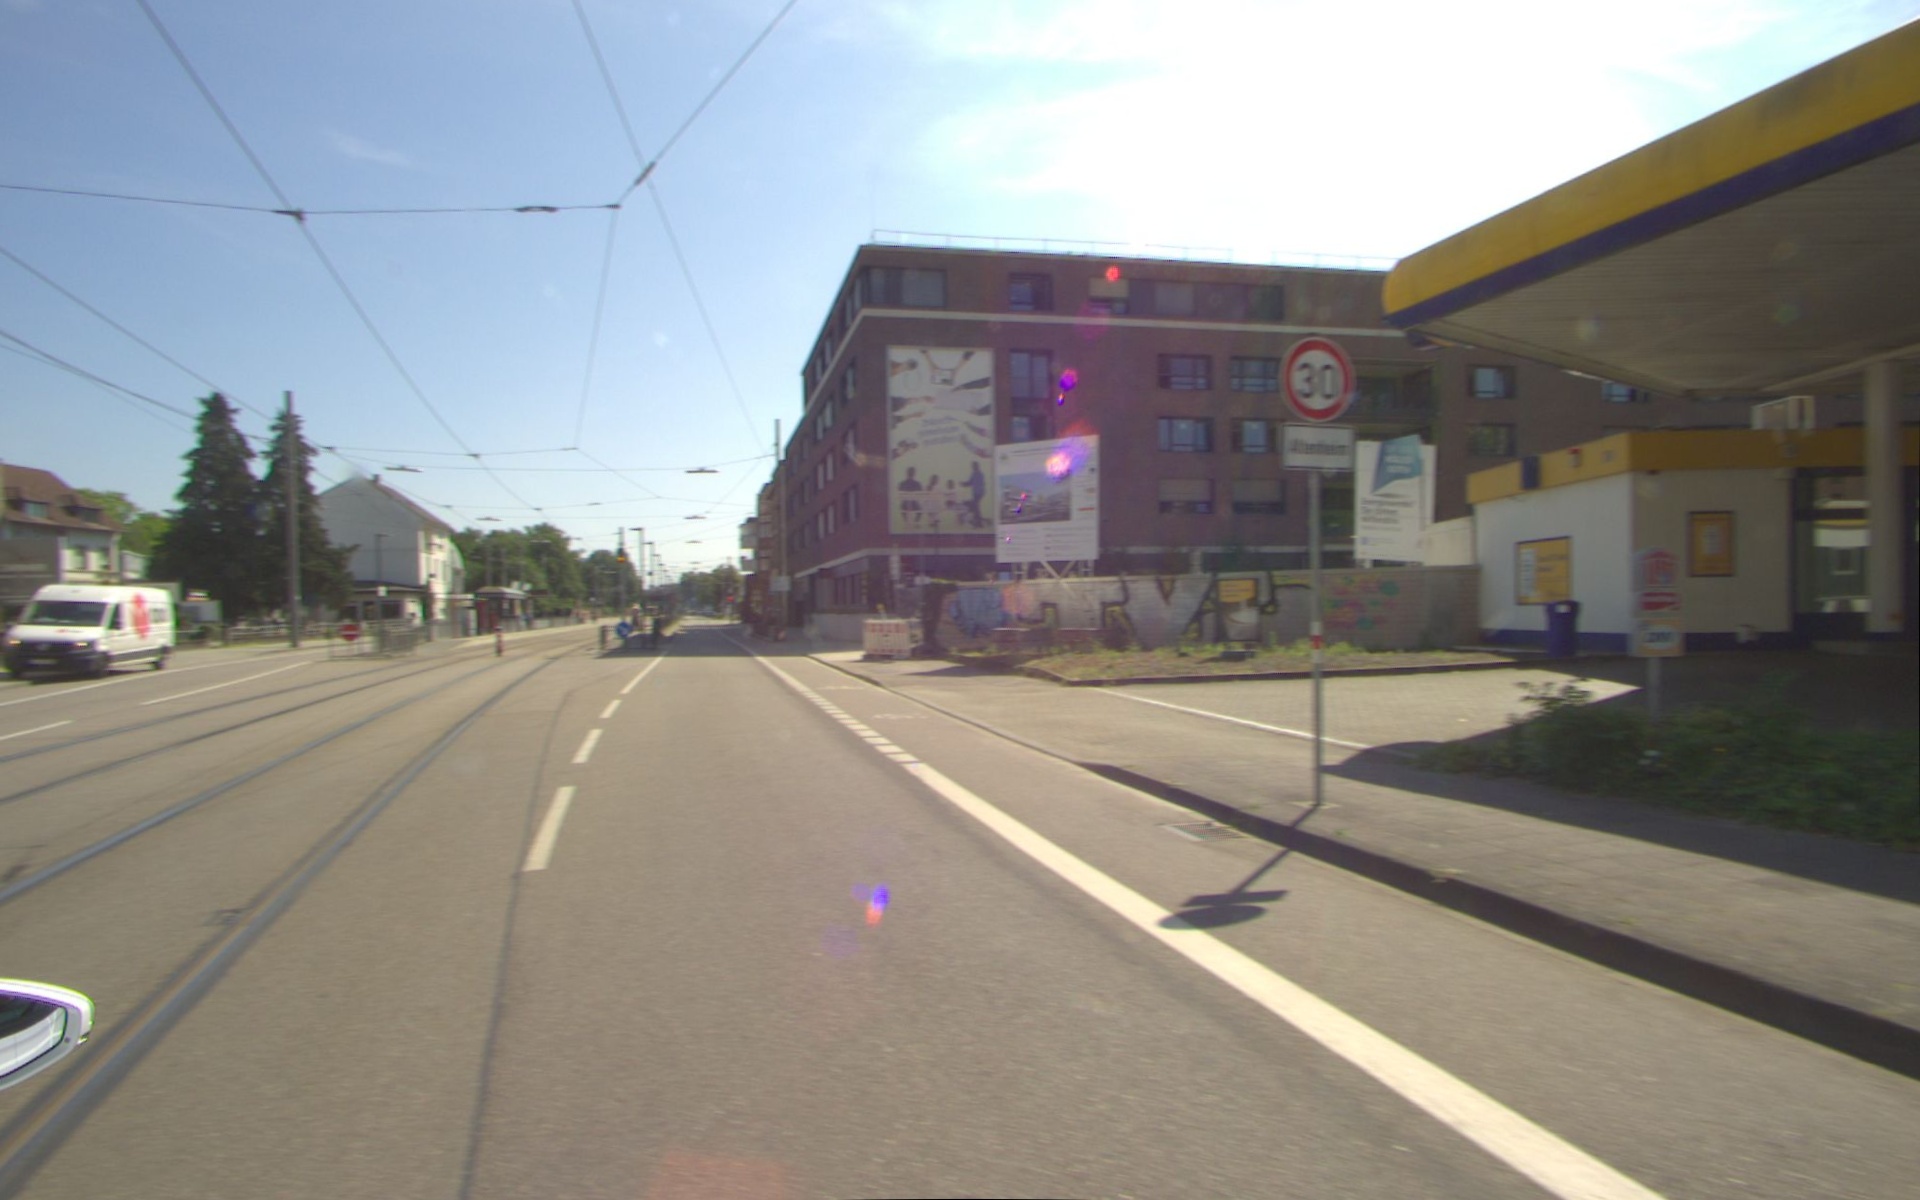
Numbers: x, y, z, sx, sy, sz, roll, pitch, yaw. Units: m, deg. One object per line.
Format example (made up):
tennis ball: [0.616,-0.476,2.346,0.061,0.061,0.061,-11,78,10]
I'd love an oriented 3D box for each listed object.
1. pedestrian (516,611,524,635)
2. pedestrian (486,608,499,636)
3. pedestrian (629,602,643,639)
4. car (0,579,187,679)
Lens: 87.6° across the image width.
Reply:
pedestrian: [-32.256,1.666,73.390,0.410,1.712,0.704,-1,1,-29]
pedestrian: [-29.427,1.385,63.086,0.696,1.712,0.415,-1,1,-24]
pedestrian: [-16.051,1.002,49.574,0.548,1.783,0.791,-2,1,-22]
car: [-25.066,0.807,29.134,2.299,2.568,6.487,1,-1,-22]
